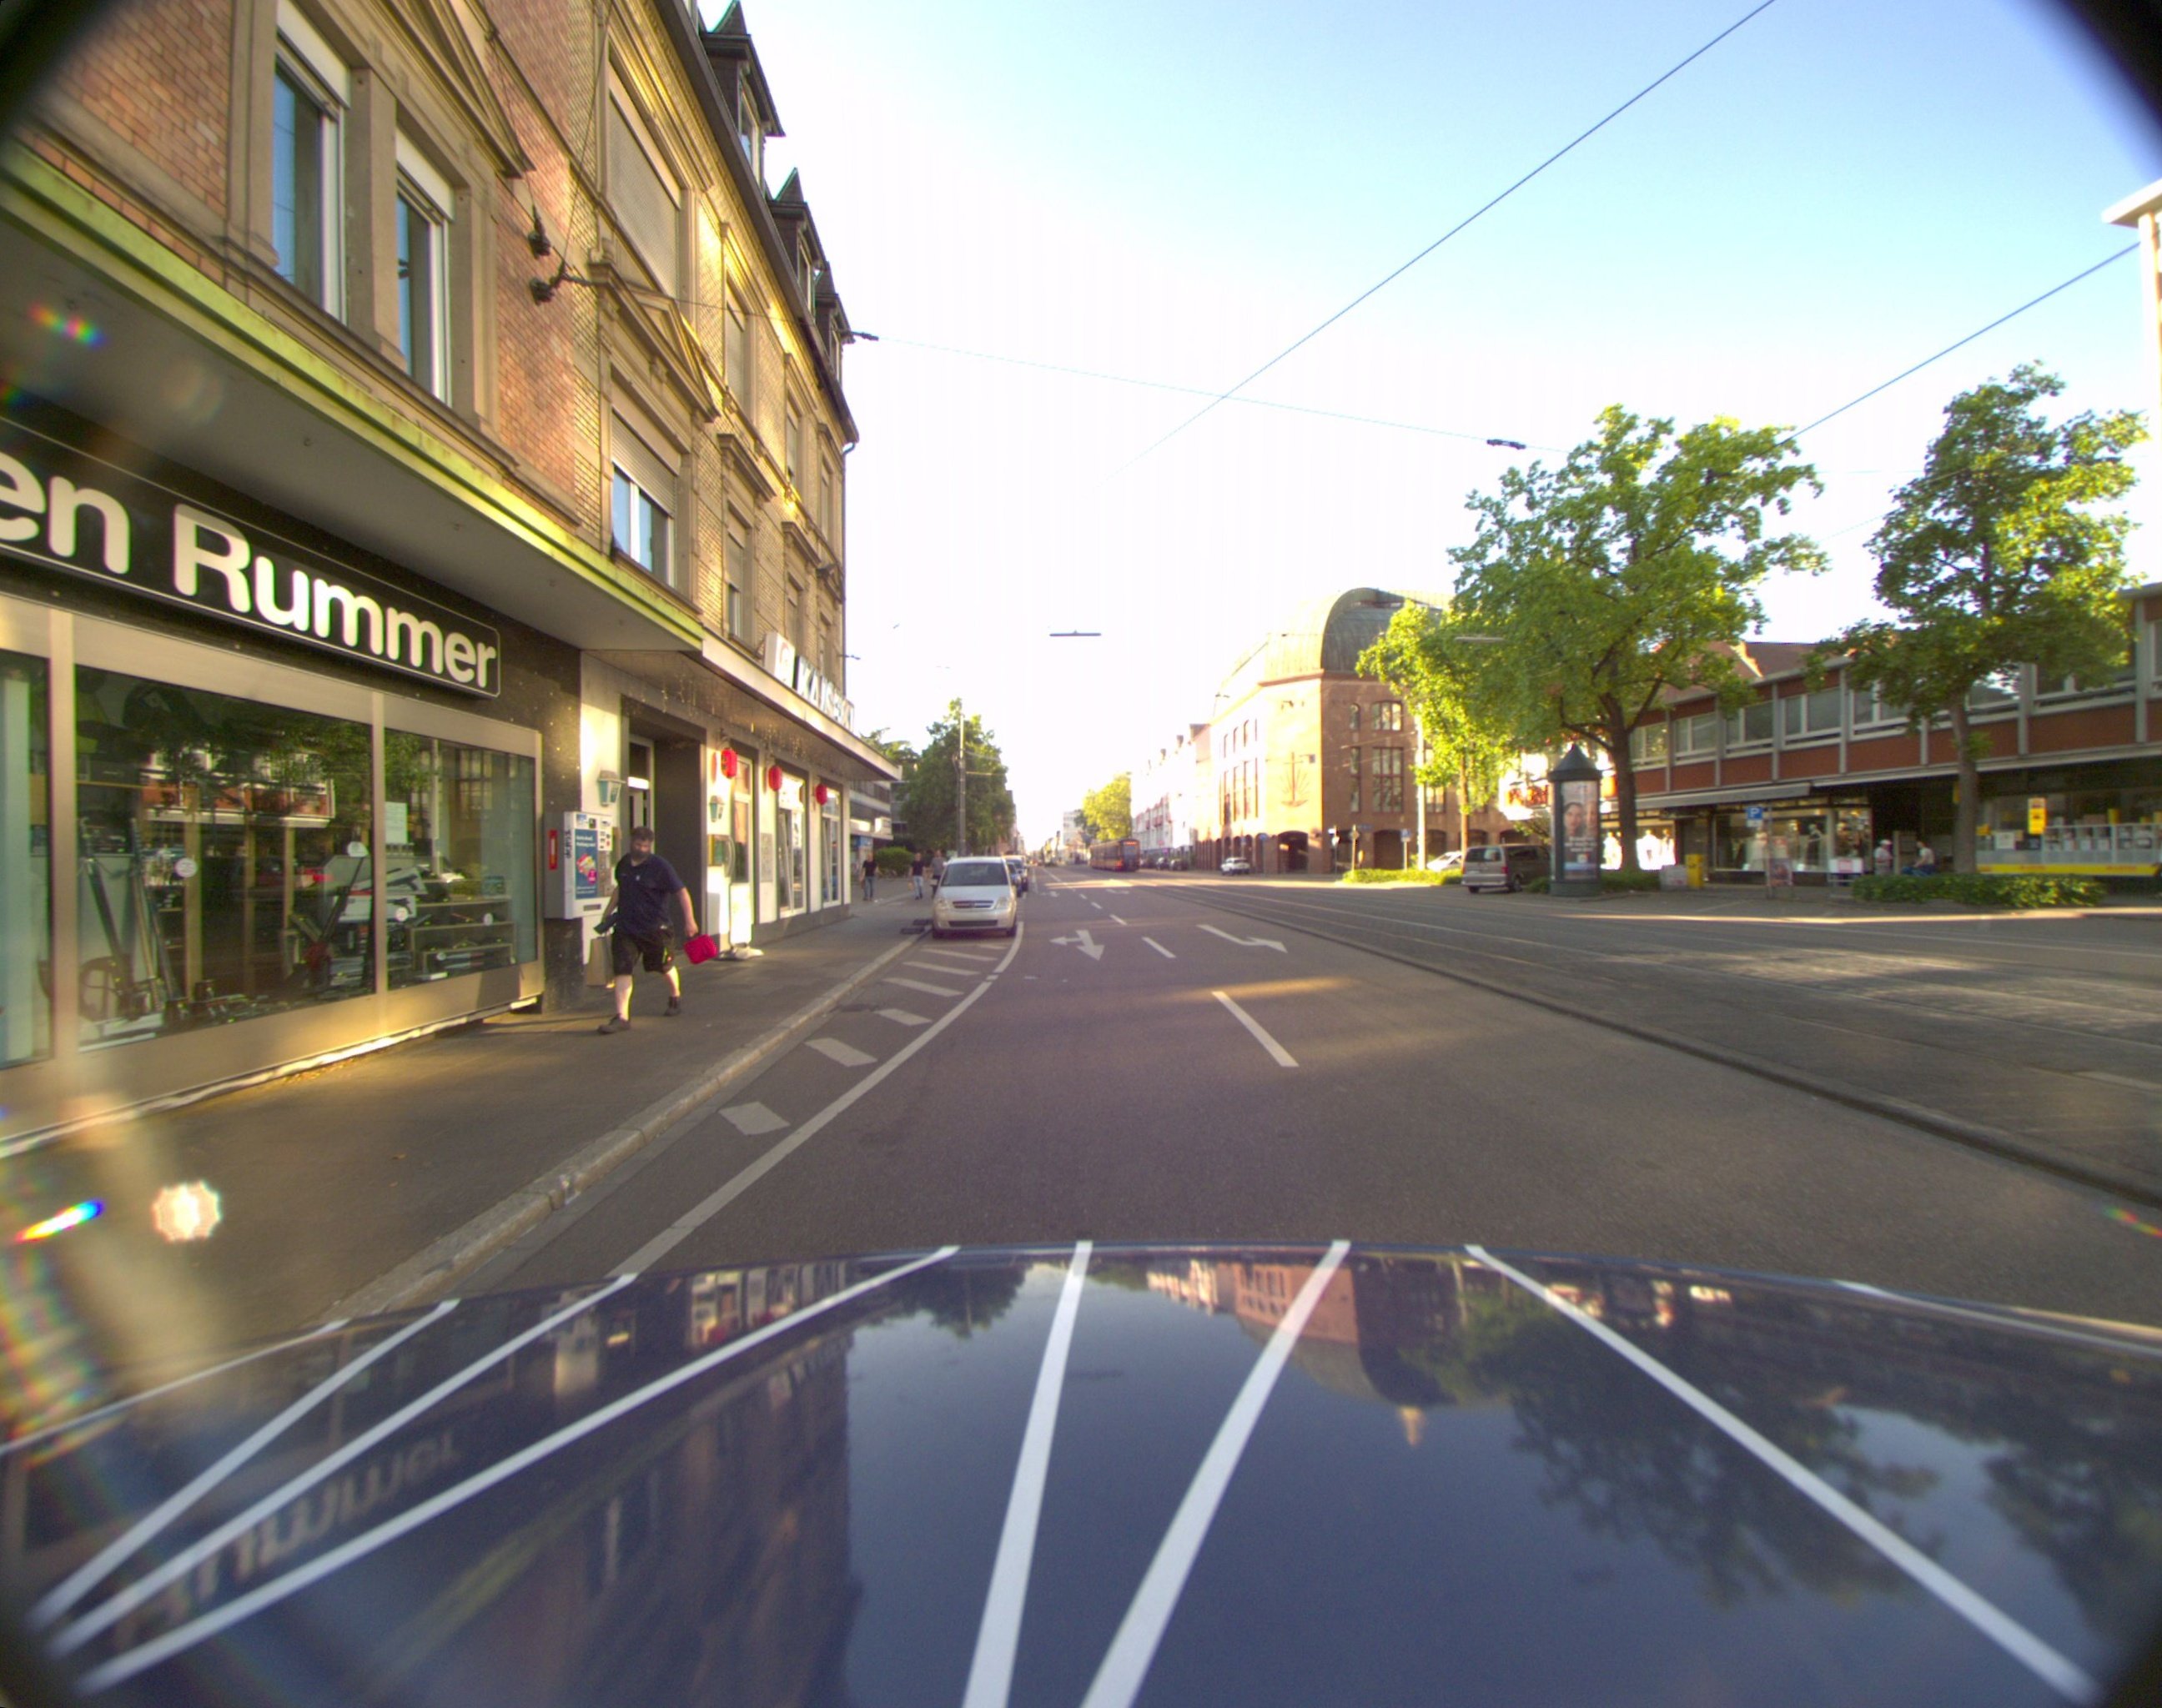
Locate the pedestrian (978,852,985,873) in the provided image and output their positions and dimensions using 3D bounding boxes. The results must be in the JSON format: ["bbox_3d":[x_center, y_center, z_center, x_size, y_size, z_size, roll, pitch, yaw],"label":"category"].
[{"bbox_3d":[-8.160,0.725,62.199,0.494,1.703,0.437,2,0,-4],"label":"pedestrian"}]

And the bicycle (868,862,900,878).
[{"bbox_3d":[-13.048,1.061,50.442,2.021,1.089,0.637,1,0,-11],"label":"bicycle"}]

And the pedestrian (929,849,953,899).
[{"bbox_3d":[-5.362,0.764,29.242,0.796,1.888,1.032,0,0,-4],"label":"pedestrian"}]

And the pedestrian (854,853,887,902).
[{"bbox_3d":[-7.555,0.830,27.273,0.903,1.703,1.032,2,0,-4],"label":"pedestrian"}]

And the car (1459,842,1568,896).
[{"bbox_3d":[17.886,0.573,31.306,5.130,1.918,1.849,-3,1,-35],"label":"car"}]

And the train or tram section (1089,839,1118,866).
[{"bbox_3d":[3.029,-0.203,106.218,2.766,3.530,12.462,0,0,-4],"label":"train or tram section"}]

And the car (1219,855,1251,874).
[{"bbox_3d":[13.991,0.920,69.049,1.600,1.581,4.275,-3,0,-6],"label":"car"}]

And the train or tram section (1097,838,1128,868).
[{"bbox_3d":[3.842,-0.143,94.441,2.683,3.530,11.122,0,0,-4],"label":"train or tram section"}]

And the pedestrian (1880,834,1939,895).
[{"bbox_3d":[26.024,0.330,23.883,0.919,1.867,0.900,-1,0,-6],"label":"pedestrian"}]

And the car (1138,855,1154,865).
[{"bbox_3d":[10.404,0.991,121.565,1.829,1.500,4.559,-2,0,-3],"label":"car"}]

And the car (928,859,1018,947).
[{"bbox_3d":[-2.194,0.931,16.288,1.642,1.605,3.943,-1,0,-5],"label":"car"}]

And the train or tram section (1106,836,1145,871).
[{"bbox_3d":[4.657,-0.095,82.480,2.683,3.530,12.836,0,0,-4],"label":"train or tram section"}]

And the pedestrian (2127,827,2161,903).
[{"bbox_3d":[28.081,0.274,19.636,0.996,1.937,0.899,-1,0,-12],"label":"pedestrian"}]

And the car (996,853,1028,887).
[{"bbox_3d":[-3.866,0.861,43.194,1.680,1.797,4.247,-2,0,-4],"label":"car"}]

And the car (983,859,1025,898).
[{"bbox_3d":[-3.331,1.020,33.112,1.642,1.484,3.793,-3,0,-5],"label":"car"}]

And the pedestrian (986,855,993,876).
[{"bbox_3d":[-7.472,0.902,62.194,0.494,1.703,0.437,2,0,-4],"label":"pedestrian"}]

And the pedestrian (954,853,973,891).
[{"bbox_3d":[-5.395,0.818,34.946,0.789,1.727,0.945,-1,0,-4],"label":"pedestrian"}]

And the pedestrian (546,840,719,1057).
[{"bbox_3d":[-3.943,0.782,6.781,0.949,1.782,1.054,1,0,-4],"label":"pedestrian"}]

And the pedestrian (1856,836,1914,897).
[{"bbox_3d":[24.993,0.384,23.631,0.917,1.867,0.901,0,0,19],"label":"pedestrian"}]

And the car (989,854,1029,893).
[{"bbox_3d":[-3.578,0.900,38.208,1.825,1.747,4.473,-2,1,-4],"label":"car"}]

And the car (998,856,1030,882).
[{"bbox_3d":[-4.275,0.929,49.172,1.792,1.586,4.325,-2,0,-3],"label":"car"}]

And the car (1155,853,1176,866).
[{"bbox_3d":[11.377,0.709,102.492,1.965,1.690,4.558,-2,0,-5],"label":"car"}]

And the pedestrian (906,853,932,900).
[{"bbox_3d":[-6.133,0.835,28.840,0.813,1.746,1.032,0,0,-4],"label":"pedestrian"}]

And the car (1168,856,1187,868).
[{"bbox_3d":[12.112,1.012,95.707,1.646,1.392,3.682,-2,0,-3],"label":"car"}]

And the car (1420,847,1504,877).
[{"bbox_3d":[27.347,0.556,54.673,4.994,1.957,2.130,-1,3,-6],"label":"car"}]

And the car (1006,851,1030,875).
[{"bbox_3d":[-5.588,0.754,67.820,1.882,2.009,4.903,-2,0,-3],"label":"car"}]

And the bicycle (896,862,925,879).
[{"bbox_3d":[-11.526,1.099,51.383,1.887,1.090,0.469,0,1,-6],"label":"bicycle"}]
